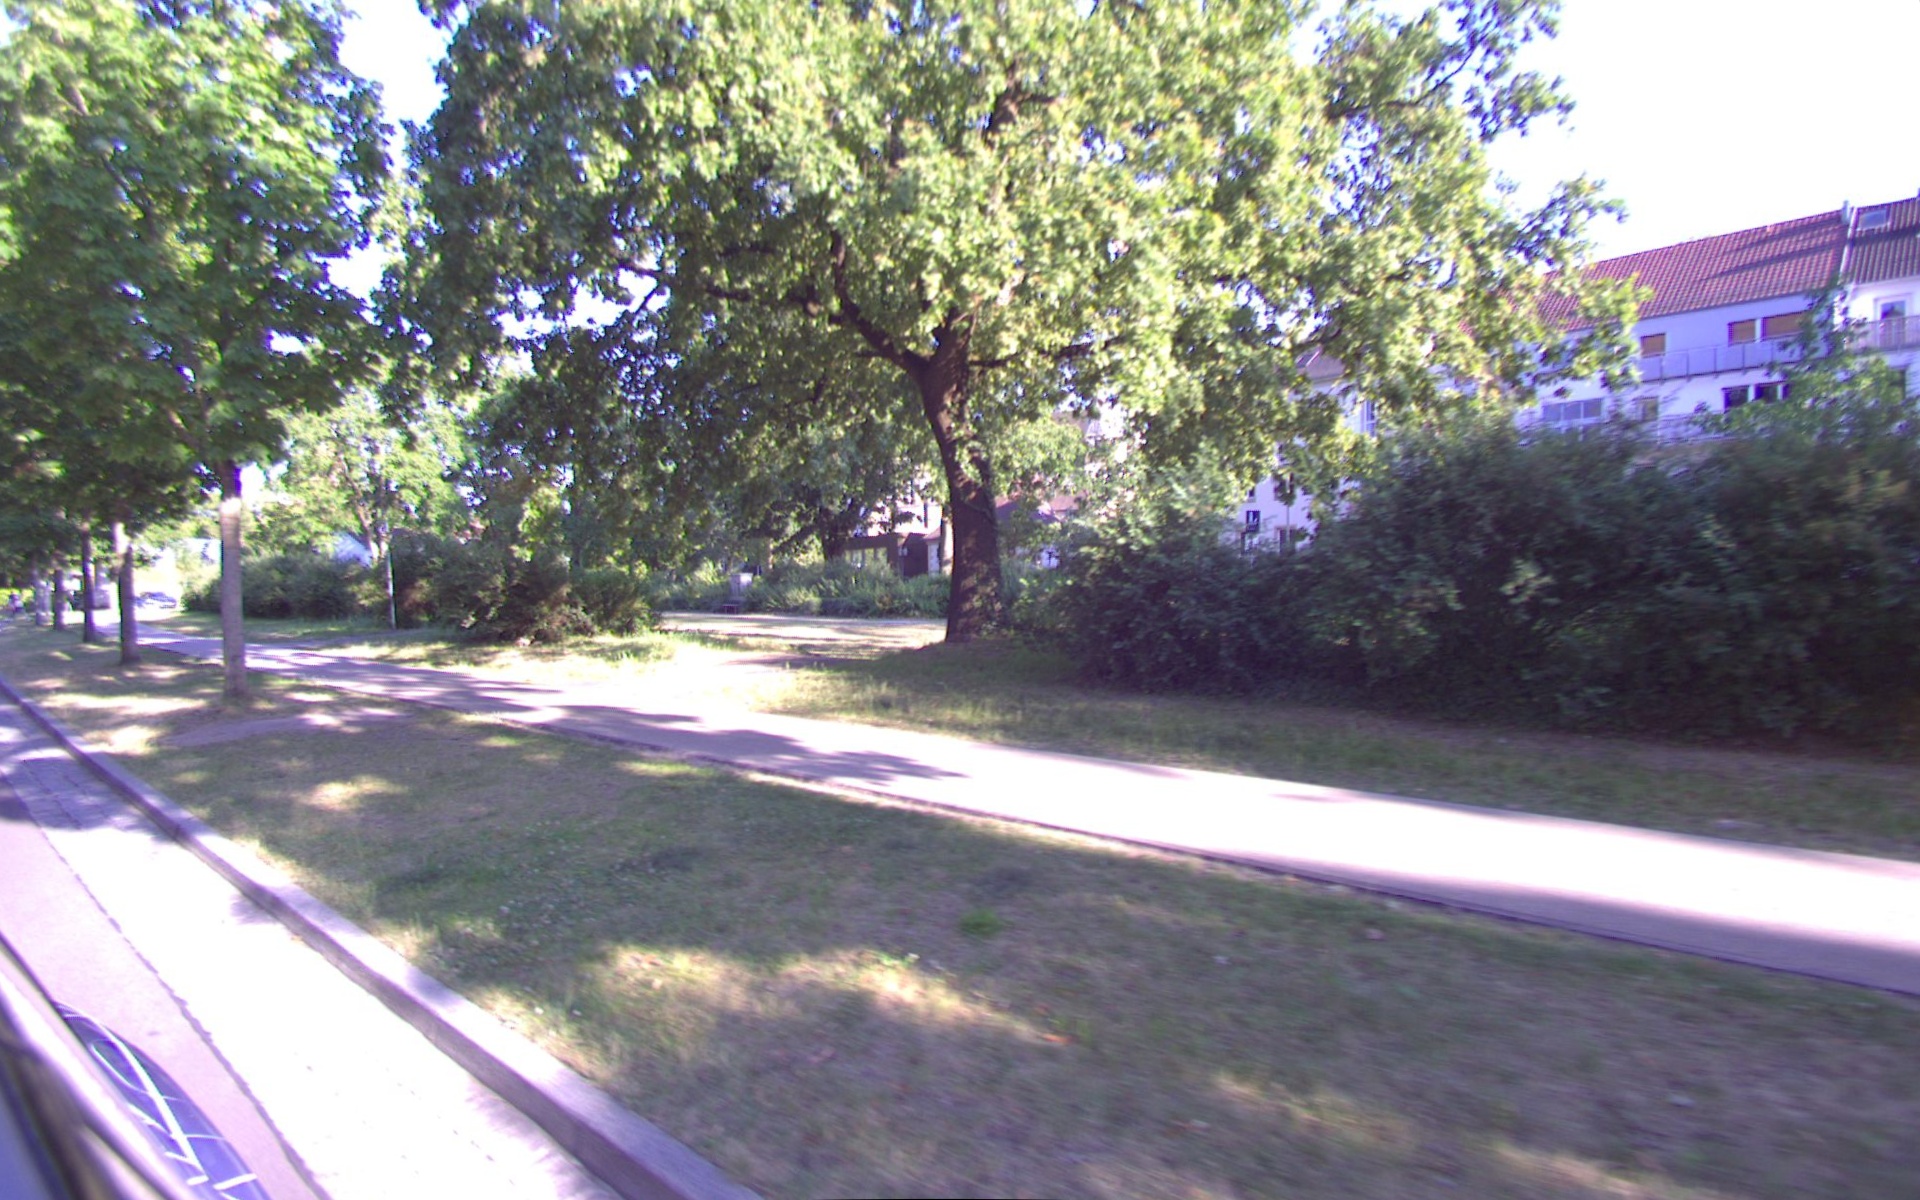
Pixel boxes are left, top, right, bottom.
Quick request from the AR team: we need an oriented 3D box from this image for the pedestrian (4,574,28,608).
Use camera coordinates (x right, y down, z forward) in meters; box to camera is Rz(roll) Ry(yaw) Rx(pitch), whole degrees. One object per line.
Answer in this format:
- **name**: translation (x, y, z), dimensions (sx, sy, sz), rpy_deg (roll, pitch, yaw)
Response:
- **pedestrian**: translation (-48.827, -0.473, 52.358), dimensions (0.999, 1.731, 0.529), rpy_deg (-2, 3, 30)

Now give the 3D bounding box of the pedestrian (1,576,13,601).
- **pedestrian**: translation (-69.175, -0.837, 73.462), dimensions (0.664, 1.788, 0.430), rpy_deg (0, 1, 35)

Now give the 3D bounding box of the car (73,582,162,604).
- **car**: translation (-63.120, -0.554, 75.866), dimensions (1.860, 1.570, 4.789), rpy_deg (-1, 1, 30)
